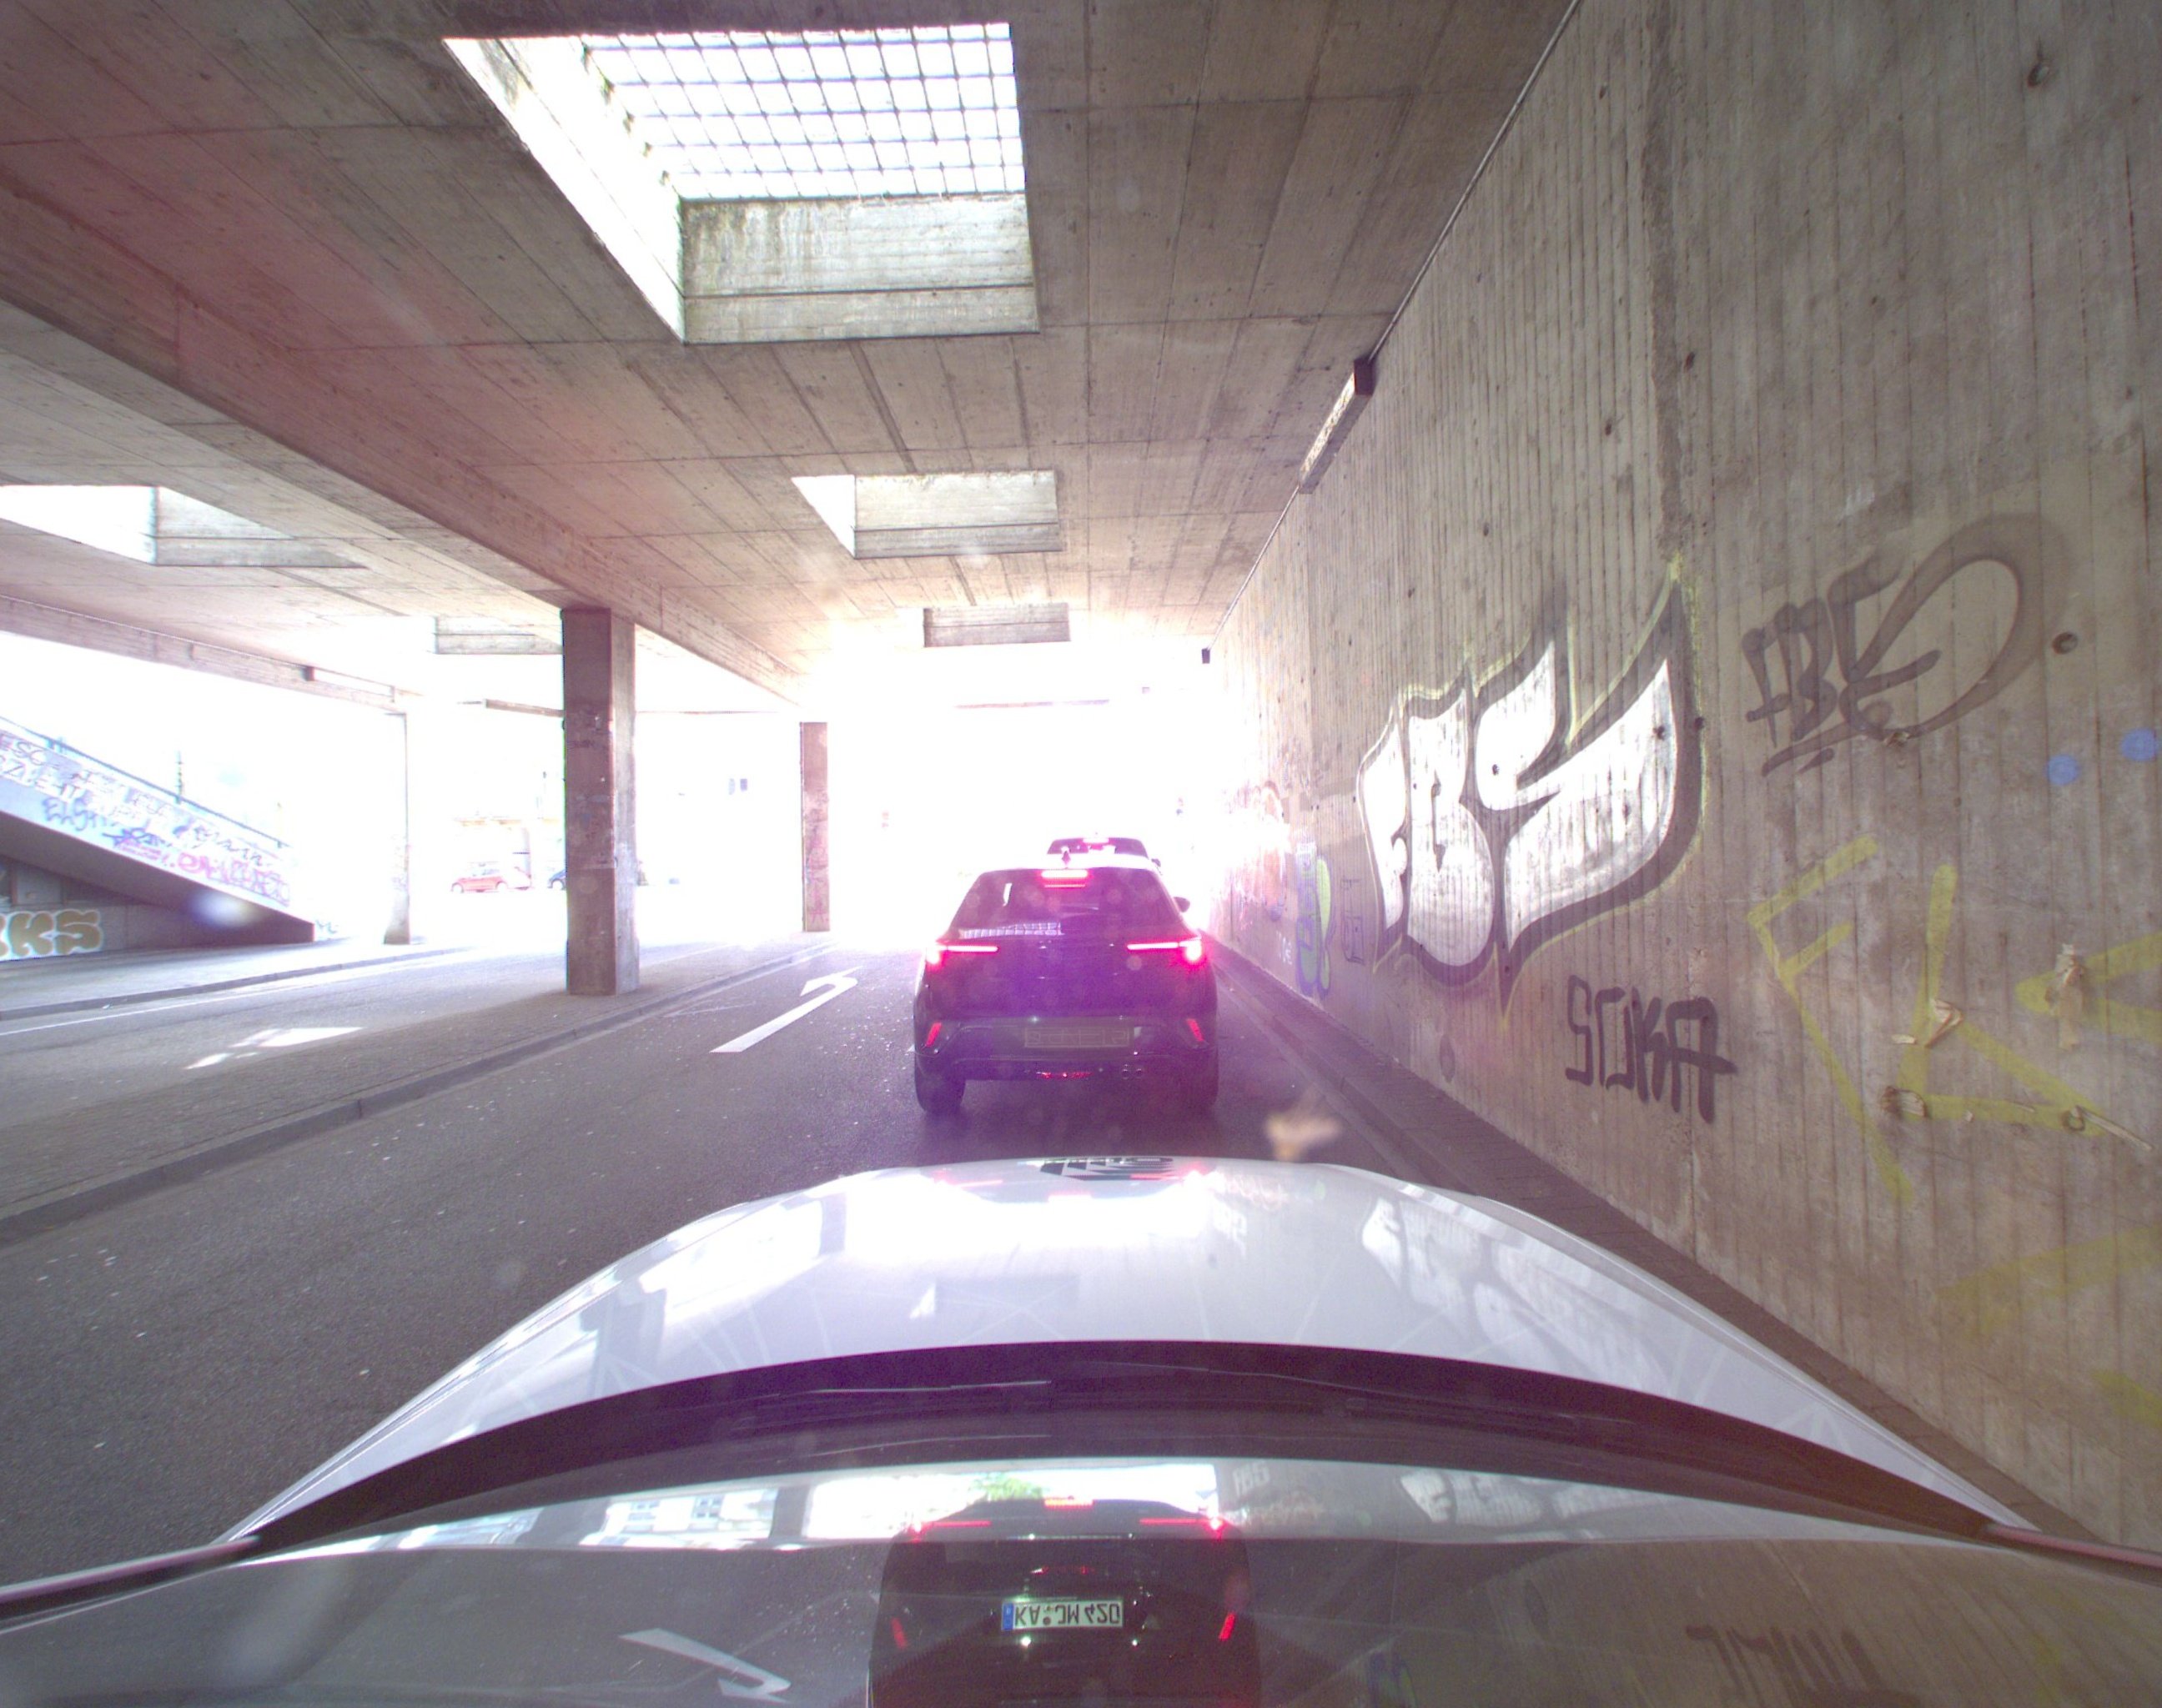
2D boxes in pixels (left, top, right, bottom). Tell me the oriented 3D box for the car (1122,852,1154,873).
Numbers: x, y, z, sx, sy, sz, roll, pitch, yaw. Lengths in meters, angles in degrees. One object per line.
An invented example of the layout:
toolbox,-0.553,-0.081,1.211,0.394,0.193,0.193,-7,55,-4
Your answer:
car,4.402,0.645,62.272,1.955,1.497,3.908,-2,-2,11

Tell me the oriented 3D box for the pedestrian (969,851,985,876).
pedestrian,-8.663,0.798,67.709,0.986,2.013,1.091,-2,0,10

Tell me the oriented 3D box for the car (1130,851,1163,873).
car,5.583,0.691,69.057,2.206,1.719,4.474,-2,-2,12

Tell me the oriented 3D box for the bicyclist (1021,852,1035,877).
bicyclist,-3.381,0.646,51.797,0.724,1.581,0.817,-1,-1,11

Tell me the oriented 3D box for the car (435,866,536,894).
car,-33.013,1.449,45.253,3.970,1.374,2.192,-1,0,3

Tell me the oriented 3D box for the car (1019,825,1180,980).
car,0.290,0.599,12.028,1.938,1.860,3.966,-2,0,2

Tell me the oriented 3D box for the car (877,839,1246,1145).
car,-0.041,0.717,6.207,1.875,1.538,3.966,-2,0,2

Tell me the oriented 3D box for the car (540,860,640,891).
car,-27.209,1.164,45.254,4.114,1.550,2.268,-1,0,1

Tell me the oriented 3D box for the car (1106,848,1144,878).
car,2.408,0.505,44.286,1.959,1.497,3.900,-1,-2,4

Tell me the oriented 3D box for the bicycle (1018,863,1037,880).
bicycle,-3.391,1.103,51.763,0.727,1.067,1.694,-1,-1,11
